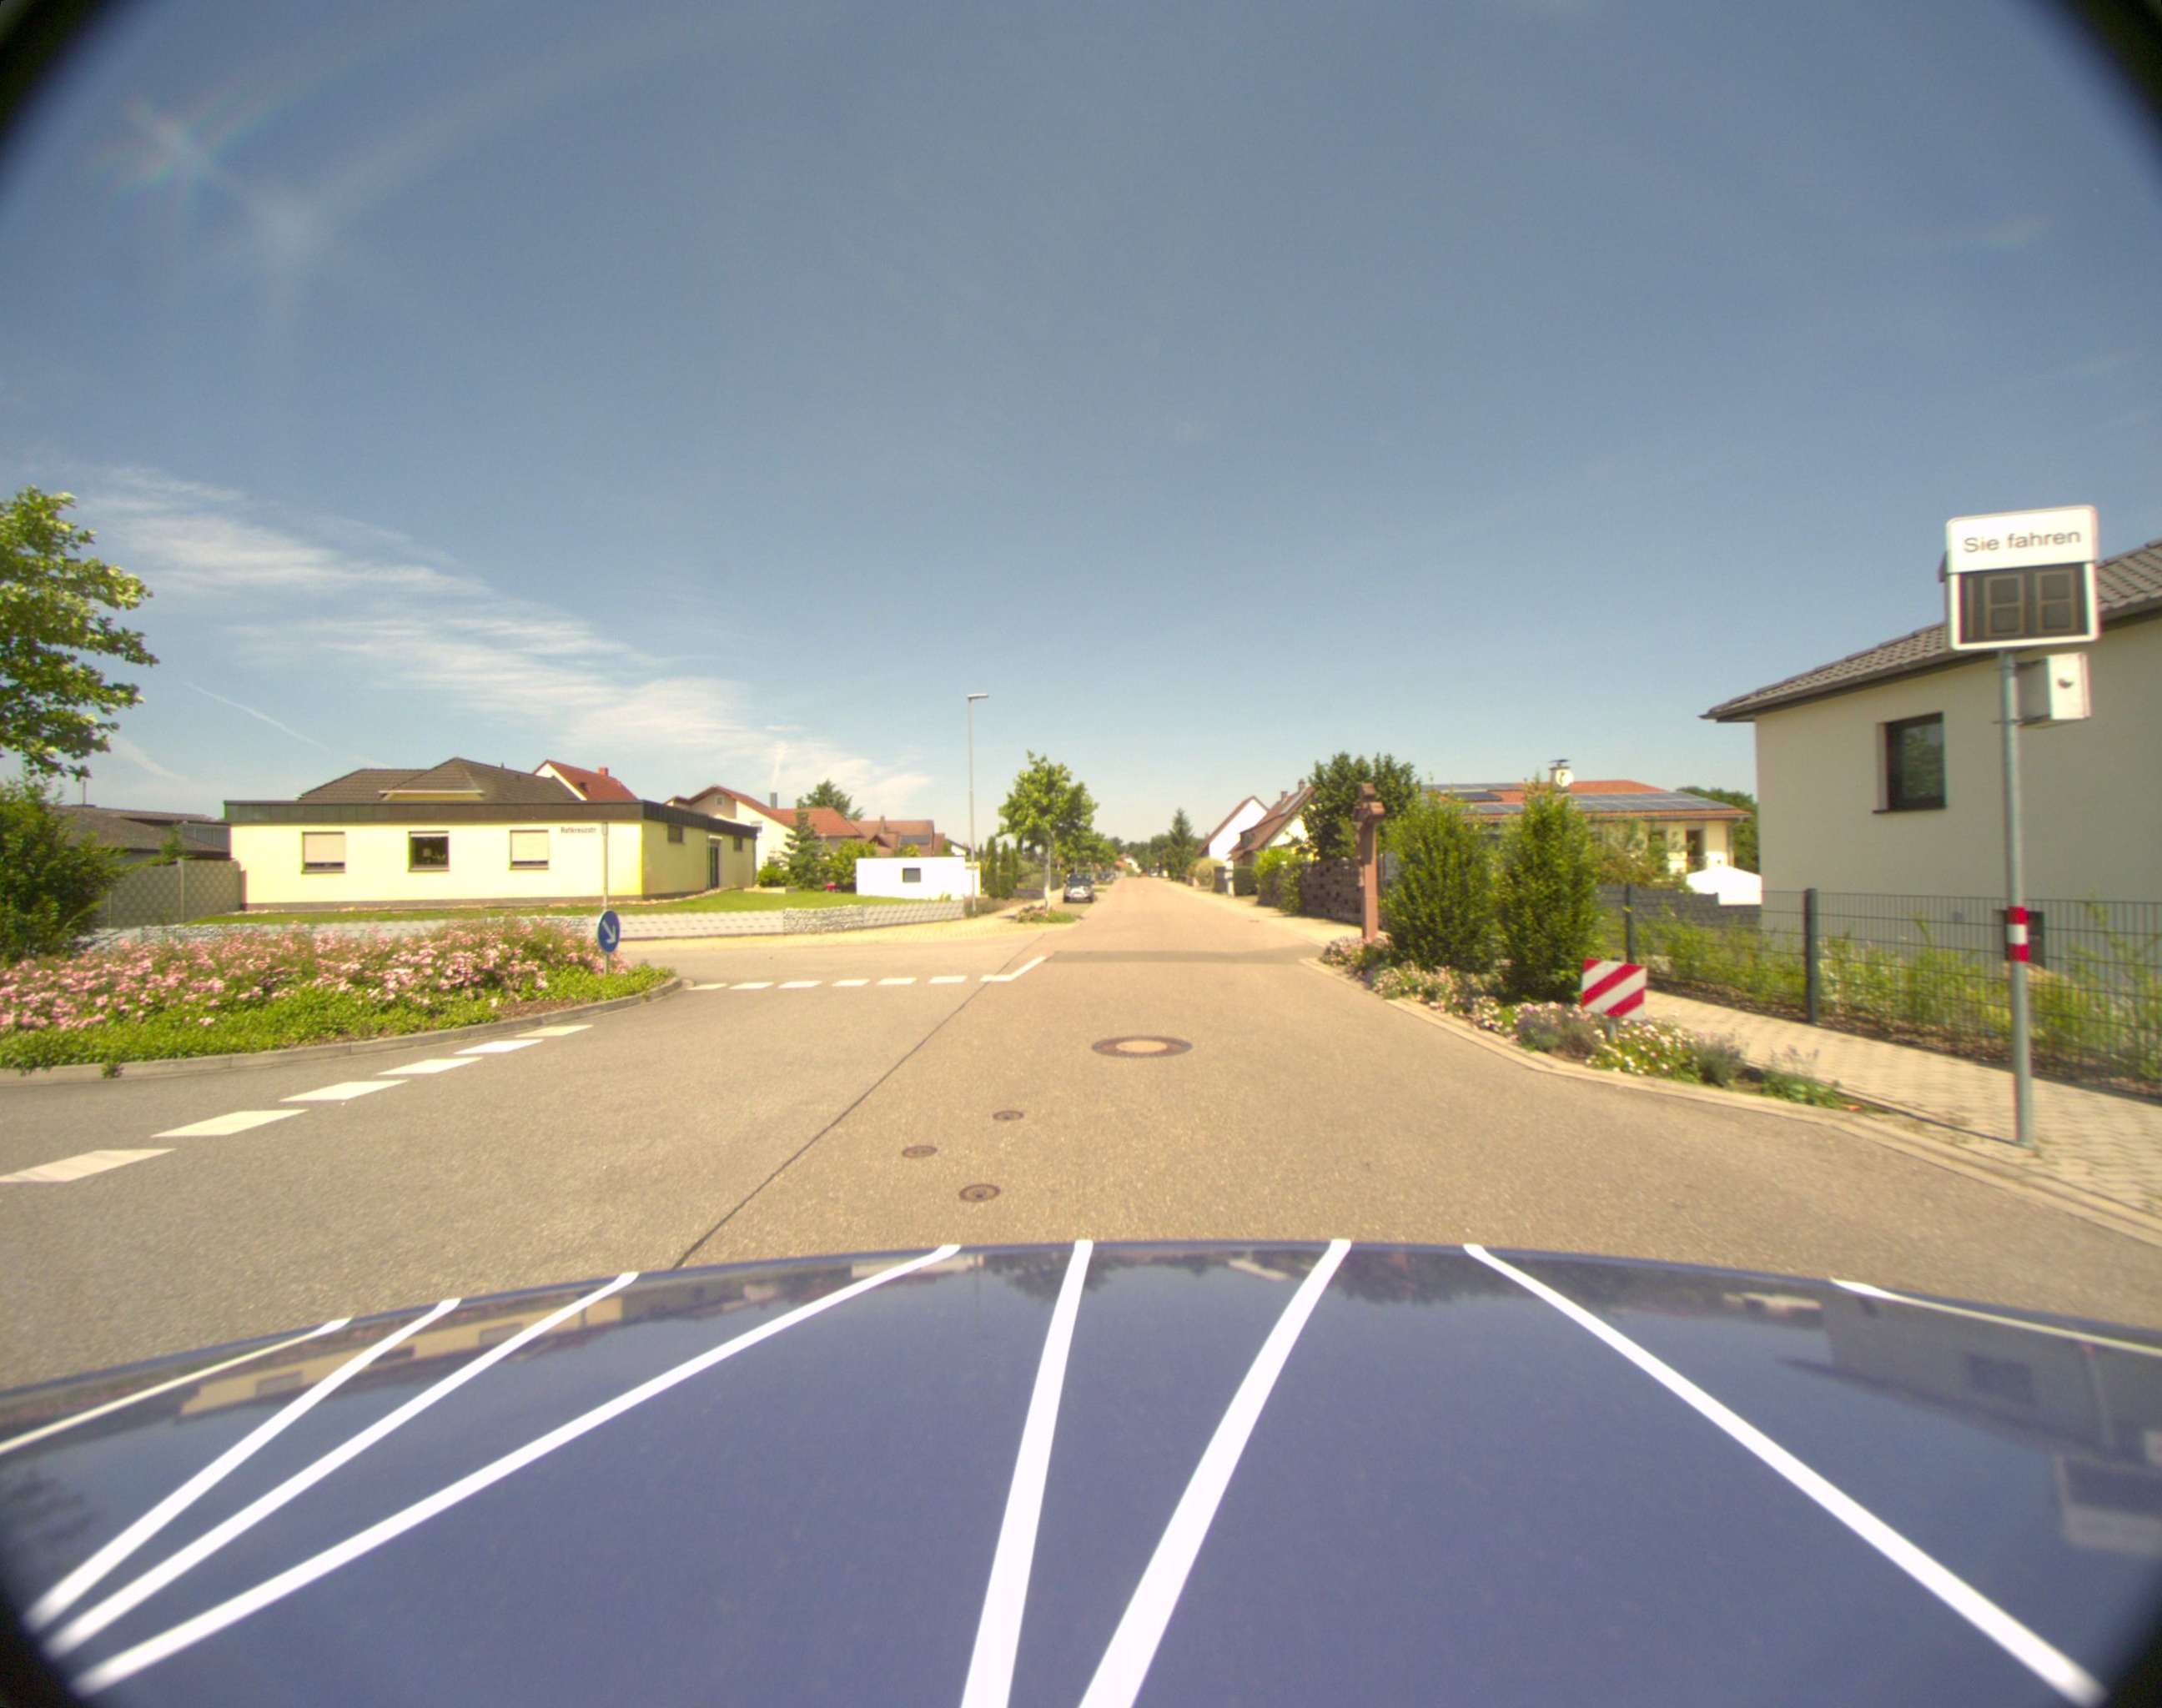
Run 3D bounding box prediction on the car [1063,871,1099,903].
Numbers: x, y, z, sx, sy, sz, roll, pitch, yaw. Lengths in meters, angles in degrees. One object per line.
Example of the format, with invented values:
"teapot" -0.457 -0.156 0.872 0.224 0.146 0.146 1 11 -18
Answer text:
"car" 0.035 1.809 42.675 1.597 1.630 3.805 0 -1 6
